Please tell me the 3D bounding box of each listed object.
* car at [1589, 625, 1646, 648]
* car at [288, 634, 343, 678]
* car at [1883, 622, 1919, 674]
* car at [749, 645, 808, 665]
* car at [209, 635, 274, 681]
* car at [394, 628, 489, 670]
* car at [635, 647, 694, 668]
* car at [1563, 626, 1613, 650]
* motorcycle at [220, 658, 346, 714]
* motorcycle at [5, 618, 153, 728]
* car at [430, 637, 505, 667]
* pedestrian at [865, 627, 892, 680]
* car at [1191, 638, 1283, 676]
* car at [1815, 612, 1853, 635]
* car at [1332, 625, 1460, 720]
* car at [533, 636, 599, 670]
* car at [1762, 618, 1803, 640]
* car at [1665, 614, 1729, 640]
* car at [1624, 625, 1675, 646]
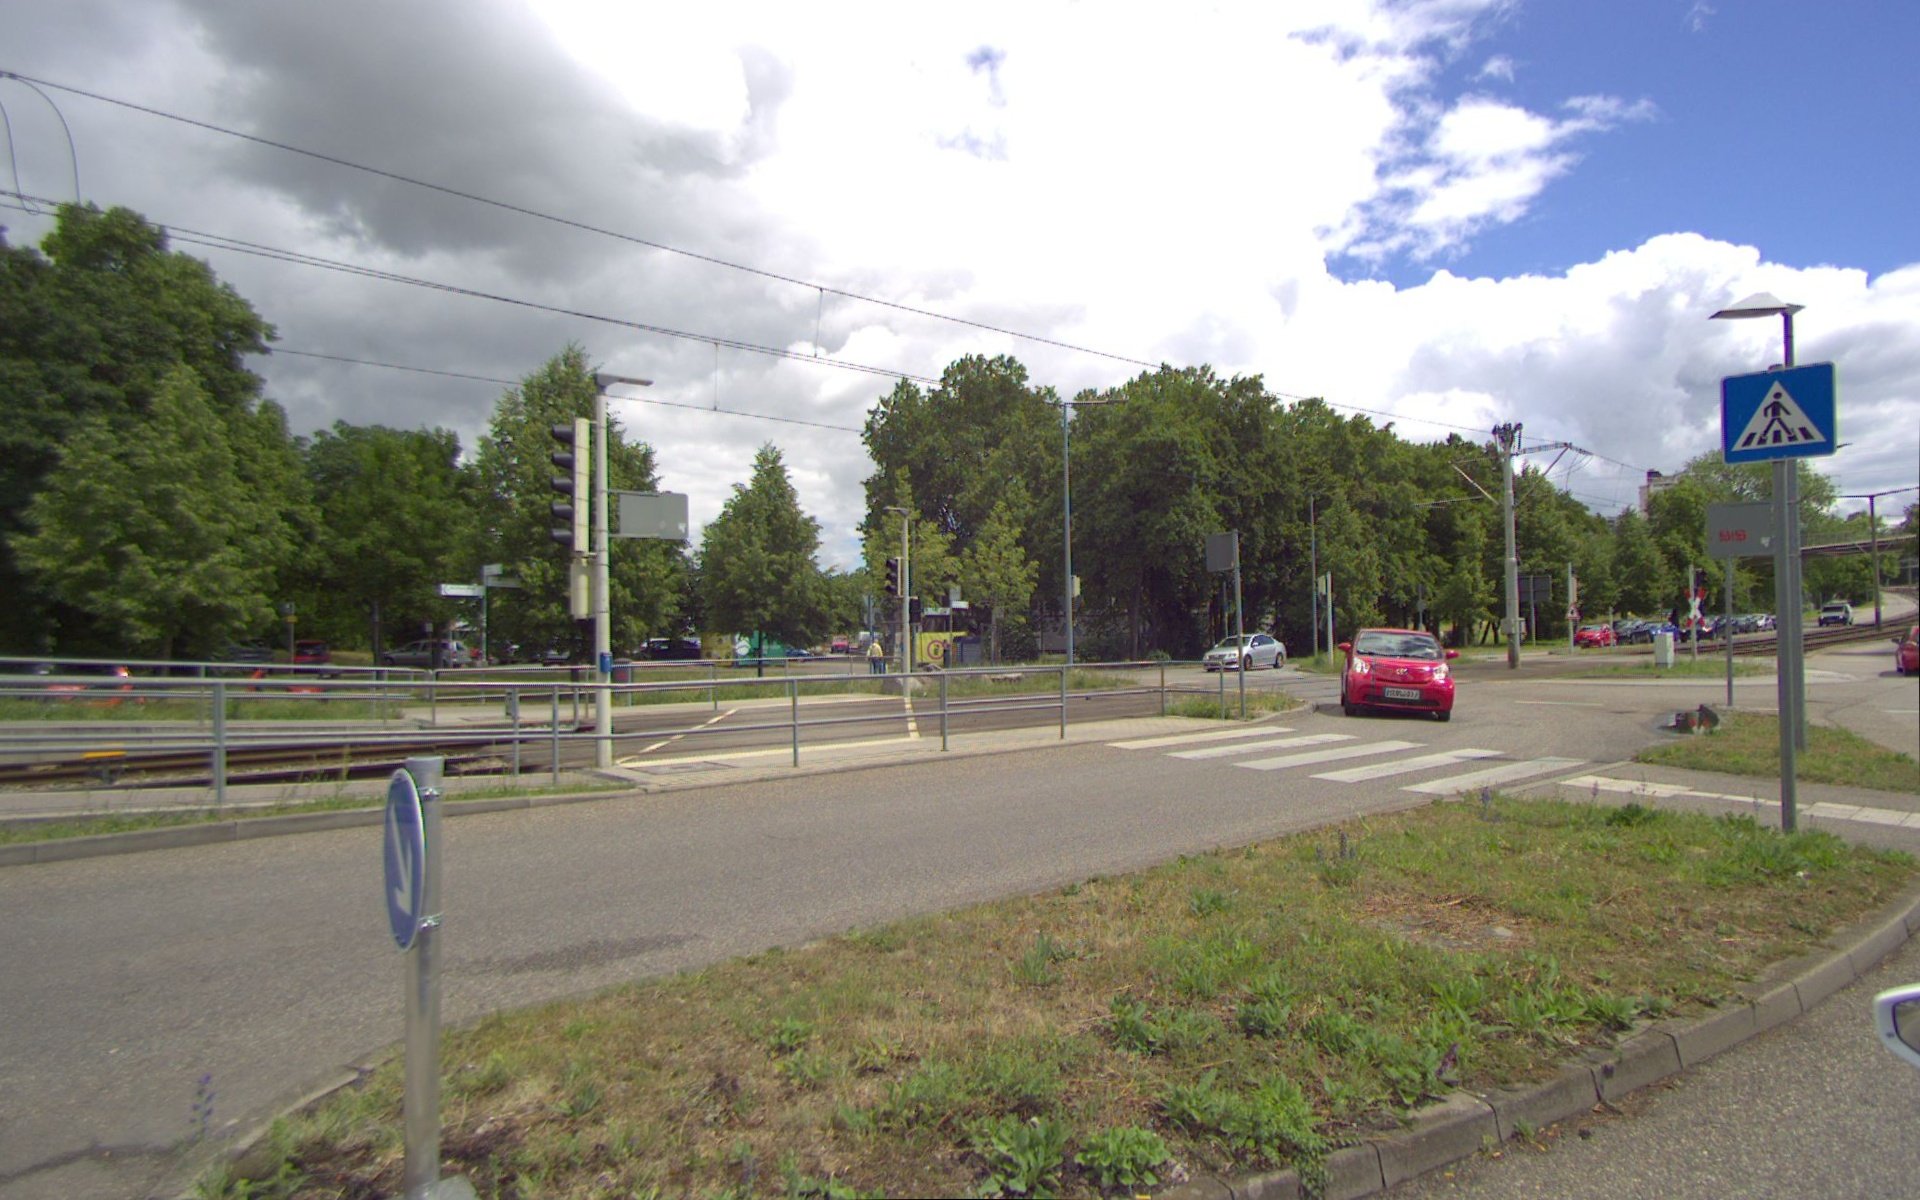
[{"bbox_3d":[42.563,2.360,65.027,3.494,1.444,1.868,1,-2,-34],"label":"car"},{"bbox_3d":[-29.529,2.524,46.114,1.977,1.859,3.967,0,-2,-31],"label":"car"},{"bbox_3d":[28.228,1.396,29.276,1.745,1.451,3.463,-3,-4,40],"label":"car"},{"bbox_3d":[-12.872,3.908,71.471,3.925,1.243,2.048,-1,-1,-6],"label":"car"},{"bbox_3d":[-31.395,2.507,43.981,1.977,1.859,3.967,0,-2,-31],"label":"car"},{"bbox_3d":[-27.049,2.532,52.498,3.924,2.040,1.999,-1,-1,-5],"label":"car"},{"bbox_3d":[-16.908,3.301,57.631,3.047,1.096,1.415,-1,-1,-8],"label":"car"},{"bbox_3d":[38.351,2.301,61.322,3.567,1.388,1.516,1,-3,-39],"label":"car"},{"bbox_3d":[-14.410,1.808,21.463,2.191,1.095,0.725,1,-3,-32],"label":"motorcycle"},{"bbox_3d":[-17.070,1.381,19.534,1.956,2.040,0.831,1,-2,-26],"label":"motorcycle"},{"bbox_3d":[-27.375,2.869,55.902,3.414,1.587,1.491,-1,-1,-6],"label":"car"},{"bbox_3d":[-3.248,2.110,39.921,0.809,2.040,0.959,-1,-1,-20],"label":"pedestrian"},{"bbox_3d":[11.109,2.244,40.208,3.805,1.368,1.859,0,-3,-44],"label":"car"},{"bbox_3d":[78.798,2.097,90.533,3.968,2.040,1.977,1,-2,-41],"label":"car"},{"bbox_3d":[7.621,1.224,17.807,1.690,1.522,2.968,-1,-2,16],"label":"car"},{"bbox_3d":[-20.656,2.754,52.826,1.961,1.660,4.138,-1,-1,-2],"label":"car"},{"bbox_3d":[75.273,2.636,91.899,3.962,1.887,1.980,0,-2,-37],"label":"car"},{"bbox_3d":[47.801,1.775,65.136,4.375,1.618,1.981,1,-3,-35],"label":"car"},{"bbox_3d":[46.816,2.402,68.211,3.534,1.270,1.794,0,-2,-36],"label":"car"}]
